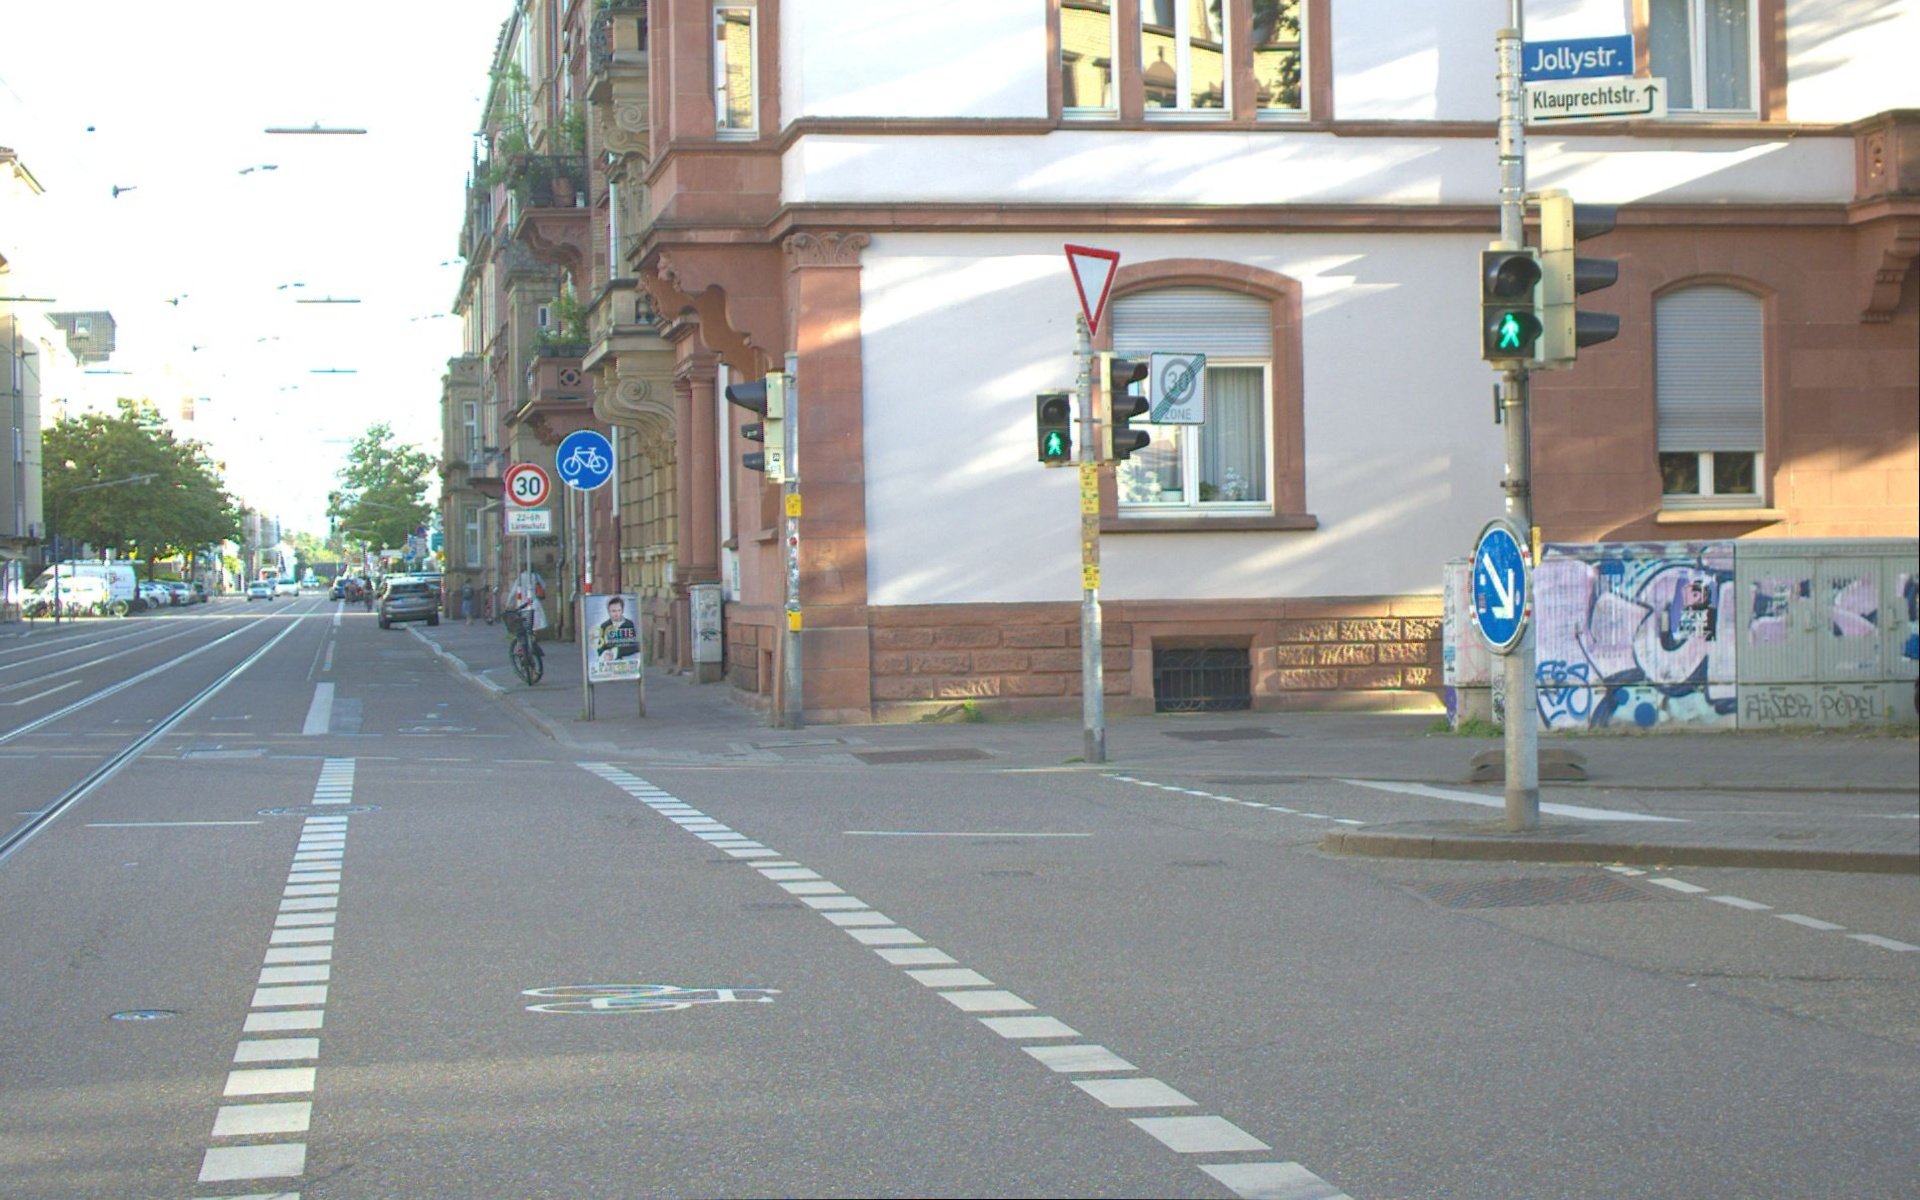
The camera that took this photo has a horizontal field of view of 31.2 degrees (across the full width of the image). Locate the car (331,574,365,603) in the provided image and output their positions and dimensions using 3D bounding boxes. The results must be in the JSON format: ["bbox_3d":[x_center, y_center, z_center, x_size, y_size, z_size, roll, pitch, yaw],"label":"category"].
[{"bbox_3d":[-36.529,-0.667,205.213,1.993,1.722,4.001,0,0,-10],"label":"car"}]

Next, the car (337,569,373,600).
[{"bbox_3d":[-34.695,-0.864,197.111,1.993,1.722,4.001,0,0,-10],"label":"car"}]

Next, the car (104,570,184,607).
[{"bbox_3d":[-46.608,-0.668,196.345,3.987,2.007,2.000,-1,1,-34],"label":"car"}]

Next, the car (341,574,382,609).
[{"bbox_3d":[-30.328,-0.429,174.200,1.993,1.722,4.001,0,0,-10],"label":"car"}]

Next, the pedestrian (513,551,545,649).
[{"bbox_3d":[-7.889,-0.006,62.971,0.544,1.774,0.504,-1,0,-9],"label":"pedestrian"}]

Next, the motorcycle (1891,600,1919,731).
[{"bbox_3d":[8.181,0.563,27.840,0.719,1.016,2.287,-1,3,2],"label":"motorcycle"}]

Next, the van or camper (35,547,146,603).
[{"bbox_3d":[-40.785,-1.160,161.225,4.636,2.555,1.999,0,0,-40],"label":"van or camper"}]

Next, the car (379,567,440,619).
[{"bbox_3d":[-18.288,-0.249,114.365,1.949,1.678,4.001,-1,1,-9],"label":"car"}]

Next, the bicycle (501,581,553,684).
[{"bbox_3d":[-5.779,0.418,45.844,0.653,1.319,2.177,-1,0,-7],"label":"bicycle"}]

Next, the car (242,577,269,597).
[{"bbox_3d":[-52.343,-0.941,255.443,1.819,1.437,4.001,0,0,-10],"label":"car"}]

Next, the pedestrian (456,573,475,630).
[{"bbox_3d":[-15.601,0.047,108.498,0.544,1.774,0.749,-1,0,-9],"label":"pedestrian"}]
